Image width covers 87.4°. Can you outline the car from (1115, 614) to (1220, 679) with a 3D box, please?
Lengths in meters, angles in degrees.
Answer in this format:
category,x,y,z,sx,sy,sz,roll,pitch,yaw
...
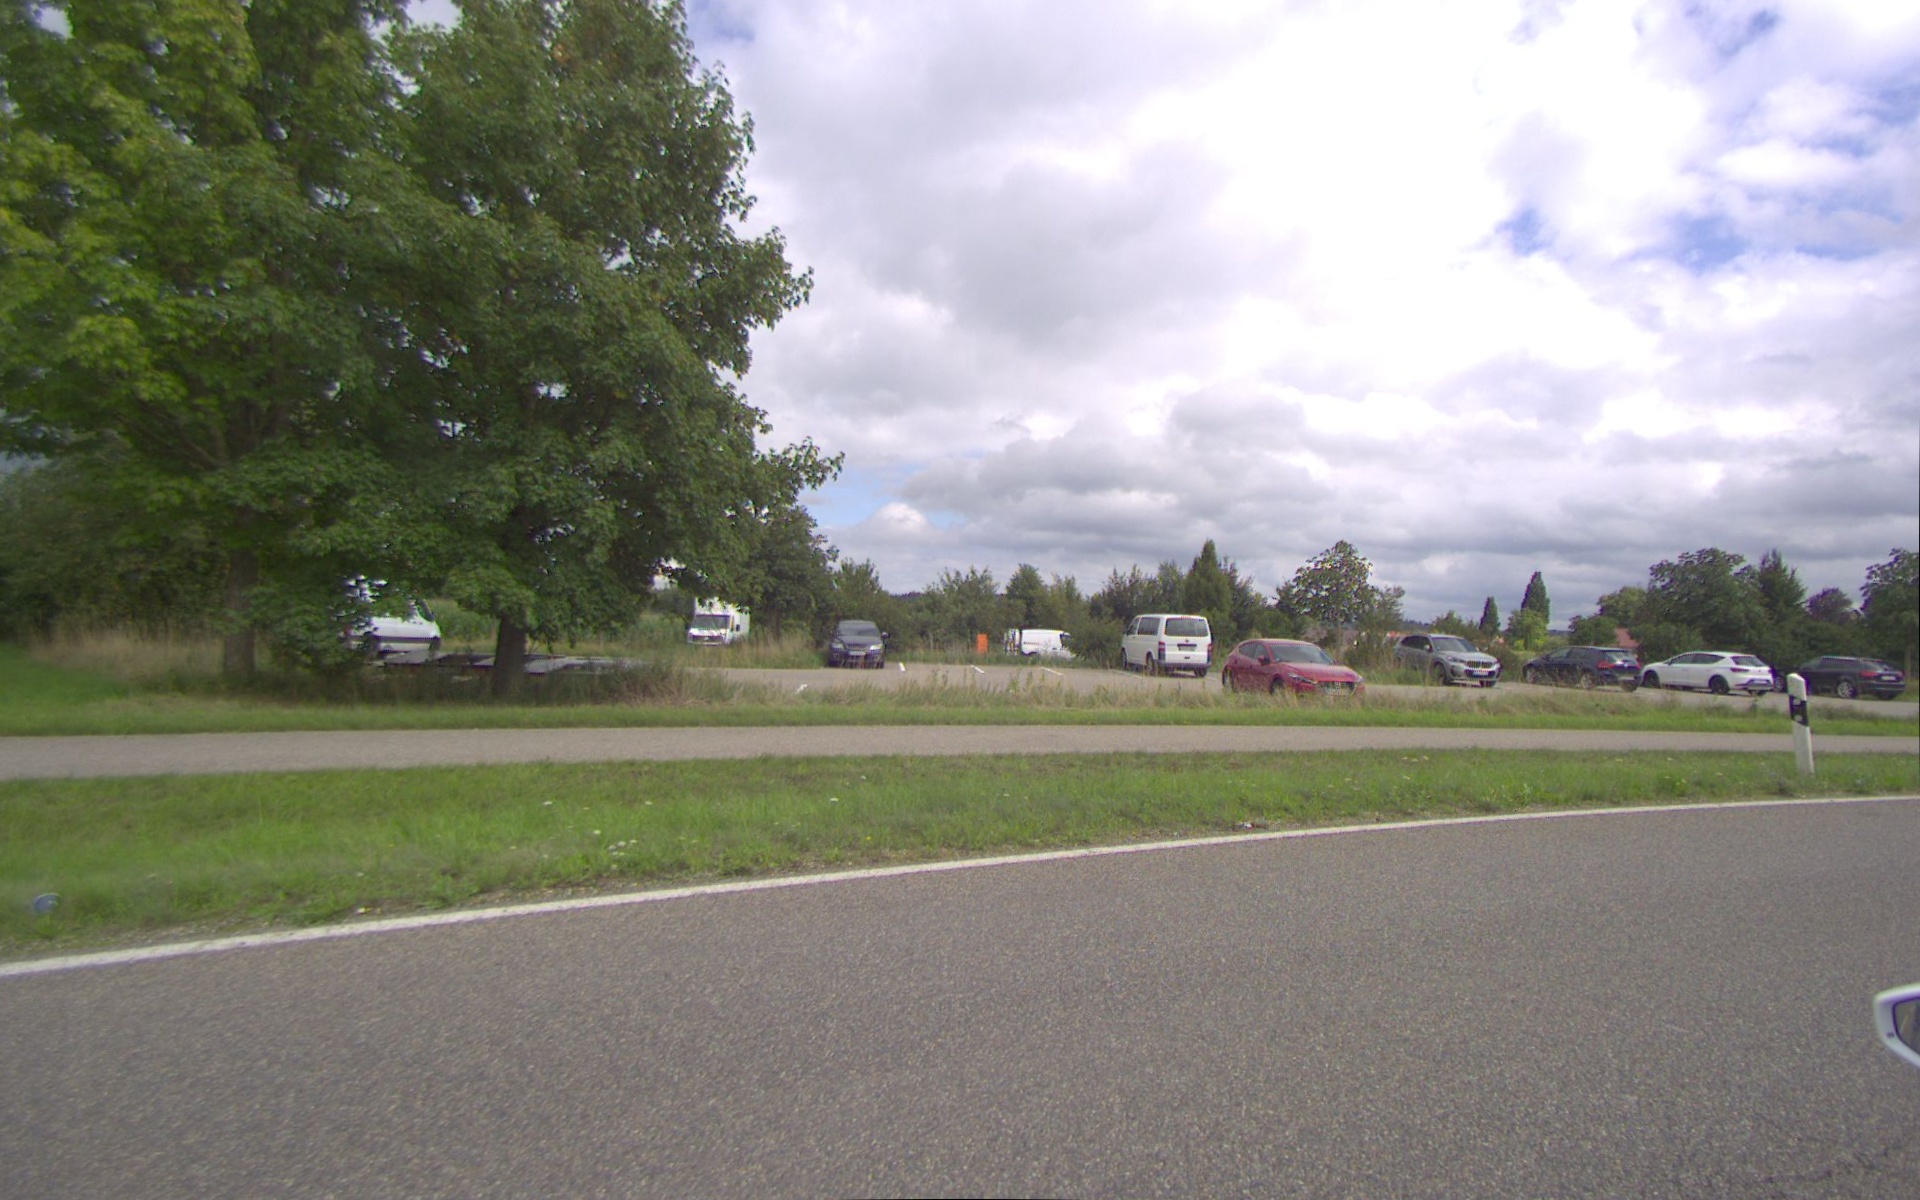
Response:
category,x,y,z,sx,sy,sz,roll,pitch,yaw
car,6.834,1.495,33.637,2.023,1.951,4.691,2,-1,-7

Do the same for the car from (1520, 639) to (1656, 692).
category,x,y,z,sx,sy,sz,roll,pitch,yaw
car,21.485,2.209,34.588,1.928,1.572,3.997,2,-1,-5

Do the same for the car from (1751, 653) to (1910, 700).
category,x,y,z,sx,sy,sz,roll,pitch,yaw
car,30.943,2.690,35.855,1.810,1.406,3.991,2,-1,-12

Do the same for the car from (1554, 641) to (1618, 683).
category,x,y,z,sx,sy,sz,roll,pitch,yaw
car,25.082,2.455,40.337,1.743,1.546,3.791,1,-2,25

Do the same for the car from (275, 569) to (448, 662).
category,x,y,z,sx,sy,sz,roll,pitch,yaw
car,-19.036,0.567,32.443,2.159,2.653,6.332,2,-2,-5

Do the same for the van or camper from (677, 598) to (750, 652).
category,x,y,z,sx,sy,sz,roll,pitch,yaw
van or camper,-11.724,1.160,48.274,2.242,2.378,6.047,2,-1,-3

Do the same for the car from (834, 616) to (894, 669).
category,x,y,z,sx,sy,sz,roll,pitch,yaw
car,-3.136,1.335,32.197,1.761,1.544,3.996,2,-2,-7

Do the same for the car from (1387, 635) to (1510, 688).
category,x,y,z,sx,sy,sz,roll,pitch,yaw
car,16.358,2.027,33.842,1.928,1.572,3.997,2,-2,-5

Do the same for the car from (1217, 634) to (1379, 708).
category,x,y,z,sx,sy,sz,roll,pitch,yaw
car,7.317,1.500,22.252,1.779,1.435,4.376,2,-2,-5

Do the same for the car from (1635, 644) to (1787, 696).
category,x,y,z,sx,sy,sz,roll,pitch,yaw
car,26.276,2.410,35.331,1.932,1.572,3.991,2,-1,-12

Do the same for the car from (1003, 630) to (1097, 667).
category,x,y,z,sx,sy,sz,roll,pitch,yaw
car,4.307,2.306,48.220,4.360,1.644,2.001,1,-2,5
